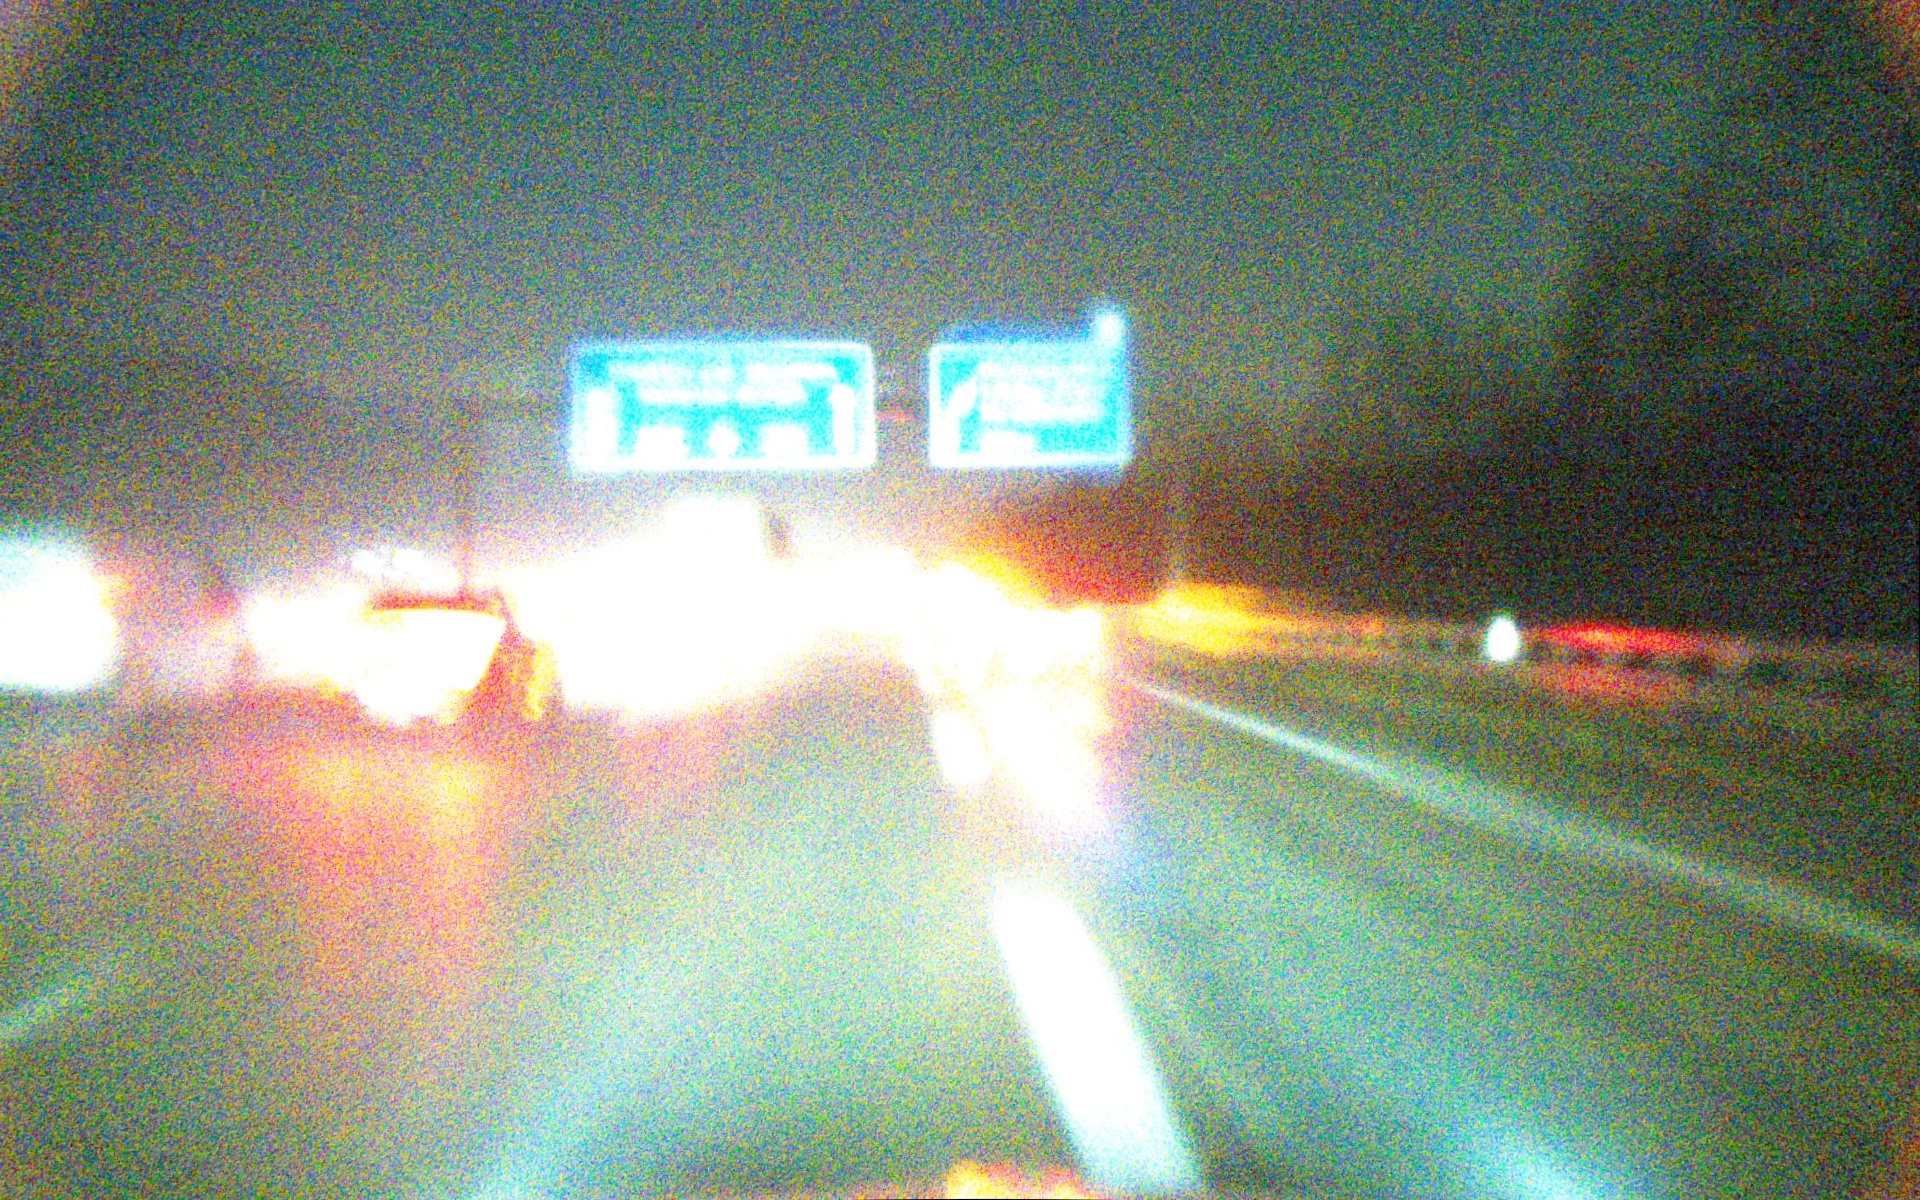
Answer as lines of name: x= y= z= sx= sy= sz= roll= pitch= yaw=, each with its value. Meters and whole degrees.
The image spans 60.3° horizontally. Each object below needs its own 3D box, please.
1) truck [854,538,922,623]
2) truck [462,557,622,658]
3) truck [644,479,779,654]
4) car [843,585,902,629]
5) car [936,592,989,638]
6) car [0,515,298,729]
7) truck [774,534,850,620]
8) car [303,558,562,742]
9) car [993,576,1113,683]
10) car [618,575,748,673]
truck: x=-4.870 y=-1.222 z=109.990 sx=4.080 sy=5.306 sz=9.944 roll=1 pitch=0 yaw=-5
truck: x=-10.053 y=0.175 z=40.345 sx=2.801 sy=2.239 sz=5.853 roll=1 pitch=0 yaw=-5
truck: x=-7.494 y=-0.942 z=51.221 sx=3.586 sy=4.820 sz=9.839 roll=1 pitch=0 yaw=-6
car: x=-4.288 y=0.334 z=82.034 sx=2.775 sy=2.049 sz=5.508 roll=1 pitch=0 yaw=-2
car: x=0.062 y=0.560 z=65.023 sx=1.953 sy=1.733 sz=4.457 roll=1 pitch=0 yaw=-2
car: x=-9.825 y=0.199 z=19.403 sx=2.081 sy=2.141 sz=5.626 roll=1 pitch=0 yaw=-3
truck: x=-10.003 y=-1.498 z=113.272 sx=4.167 sy=5.539 sz=10.883 roll=1 pitch=0 yaw=0
car: x=-5.448 y=0.443 z=17.589 sx=1.731 sy=1.718 sz=3.997 roll=1 pitch=1 yaw=-4
car: x=1.626 y=0.504 z=30.140 sx=1.840 sy=1.793 sz=3.999 roll=1 pitch=0 yaw=-1
car: x=-5.430 y=0.451 z=32.974 sx=1.998 sy=1.792 sz=4.513 roll=1 pitch=0 yaw=-3
